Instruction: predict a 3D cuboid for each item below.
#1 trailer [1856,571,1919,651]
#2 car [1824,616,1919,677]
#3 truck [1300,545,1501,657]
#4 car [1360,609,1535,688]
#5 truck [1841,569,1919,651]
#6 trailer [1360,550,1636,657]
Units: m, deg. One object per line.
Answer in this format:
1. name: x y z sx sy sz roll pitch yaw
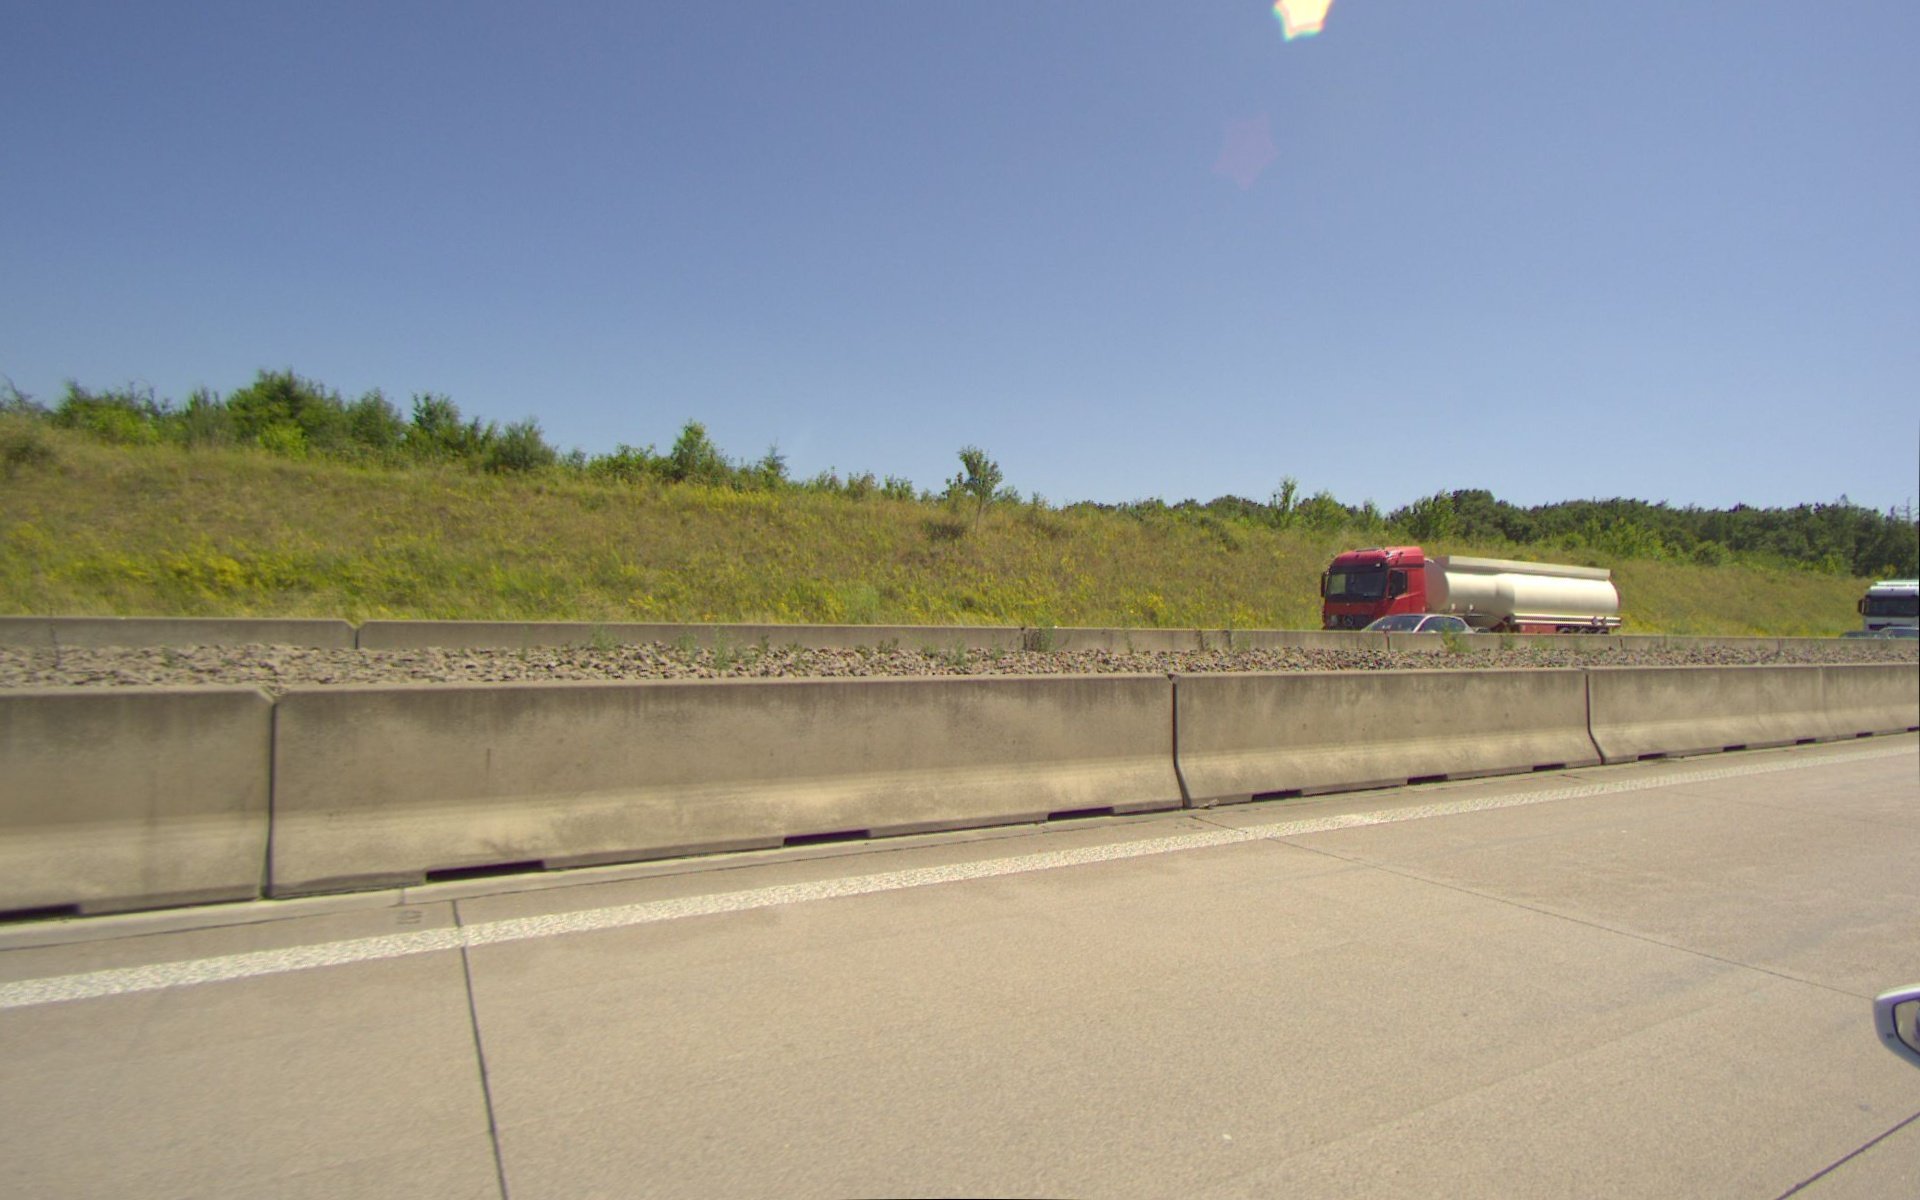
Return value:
1. trailer: 56.503 0.747 58.553 14.241 4.224 2.914 2 2 -35
2. car: 30.958 1.521 33.609 3.993 1.929 1.983 1 -1 -32
3. truck: 13.975 0.056 31.823 5.839 3.258 2.917 2 2 -32
4. car: 11.744 1.124 24.163 3.954 1.739 1.984 1 -1 -31
5. truck: 50.907 0.559 54.681 5.701 4.224 2.915 2 2 -34
6. trailer: 18.954 0.208 34.931 11.700 3.258 2.917 2 2 -32
